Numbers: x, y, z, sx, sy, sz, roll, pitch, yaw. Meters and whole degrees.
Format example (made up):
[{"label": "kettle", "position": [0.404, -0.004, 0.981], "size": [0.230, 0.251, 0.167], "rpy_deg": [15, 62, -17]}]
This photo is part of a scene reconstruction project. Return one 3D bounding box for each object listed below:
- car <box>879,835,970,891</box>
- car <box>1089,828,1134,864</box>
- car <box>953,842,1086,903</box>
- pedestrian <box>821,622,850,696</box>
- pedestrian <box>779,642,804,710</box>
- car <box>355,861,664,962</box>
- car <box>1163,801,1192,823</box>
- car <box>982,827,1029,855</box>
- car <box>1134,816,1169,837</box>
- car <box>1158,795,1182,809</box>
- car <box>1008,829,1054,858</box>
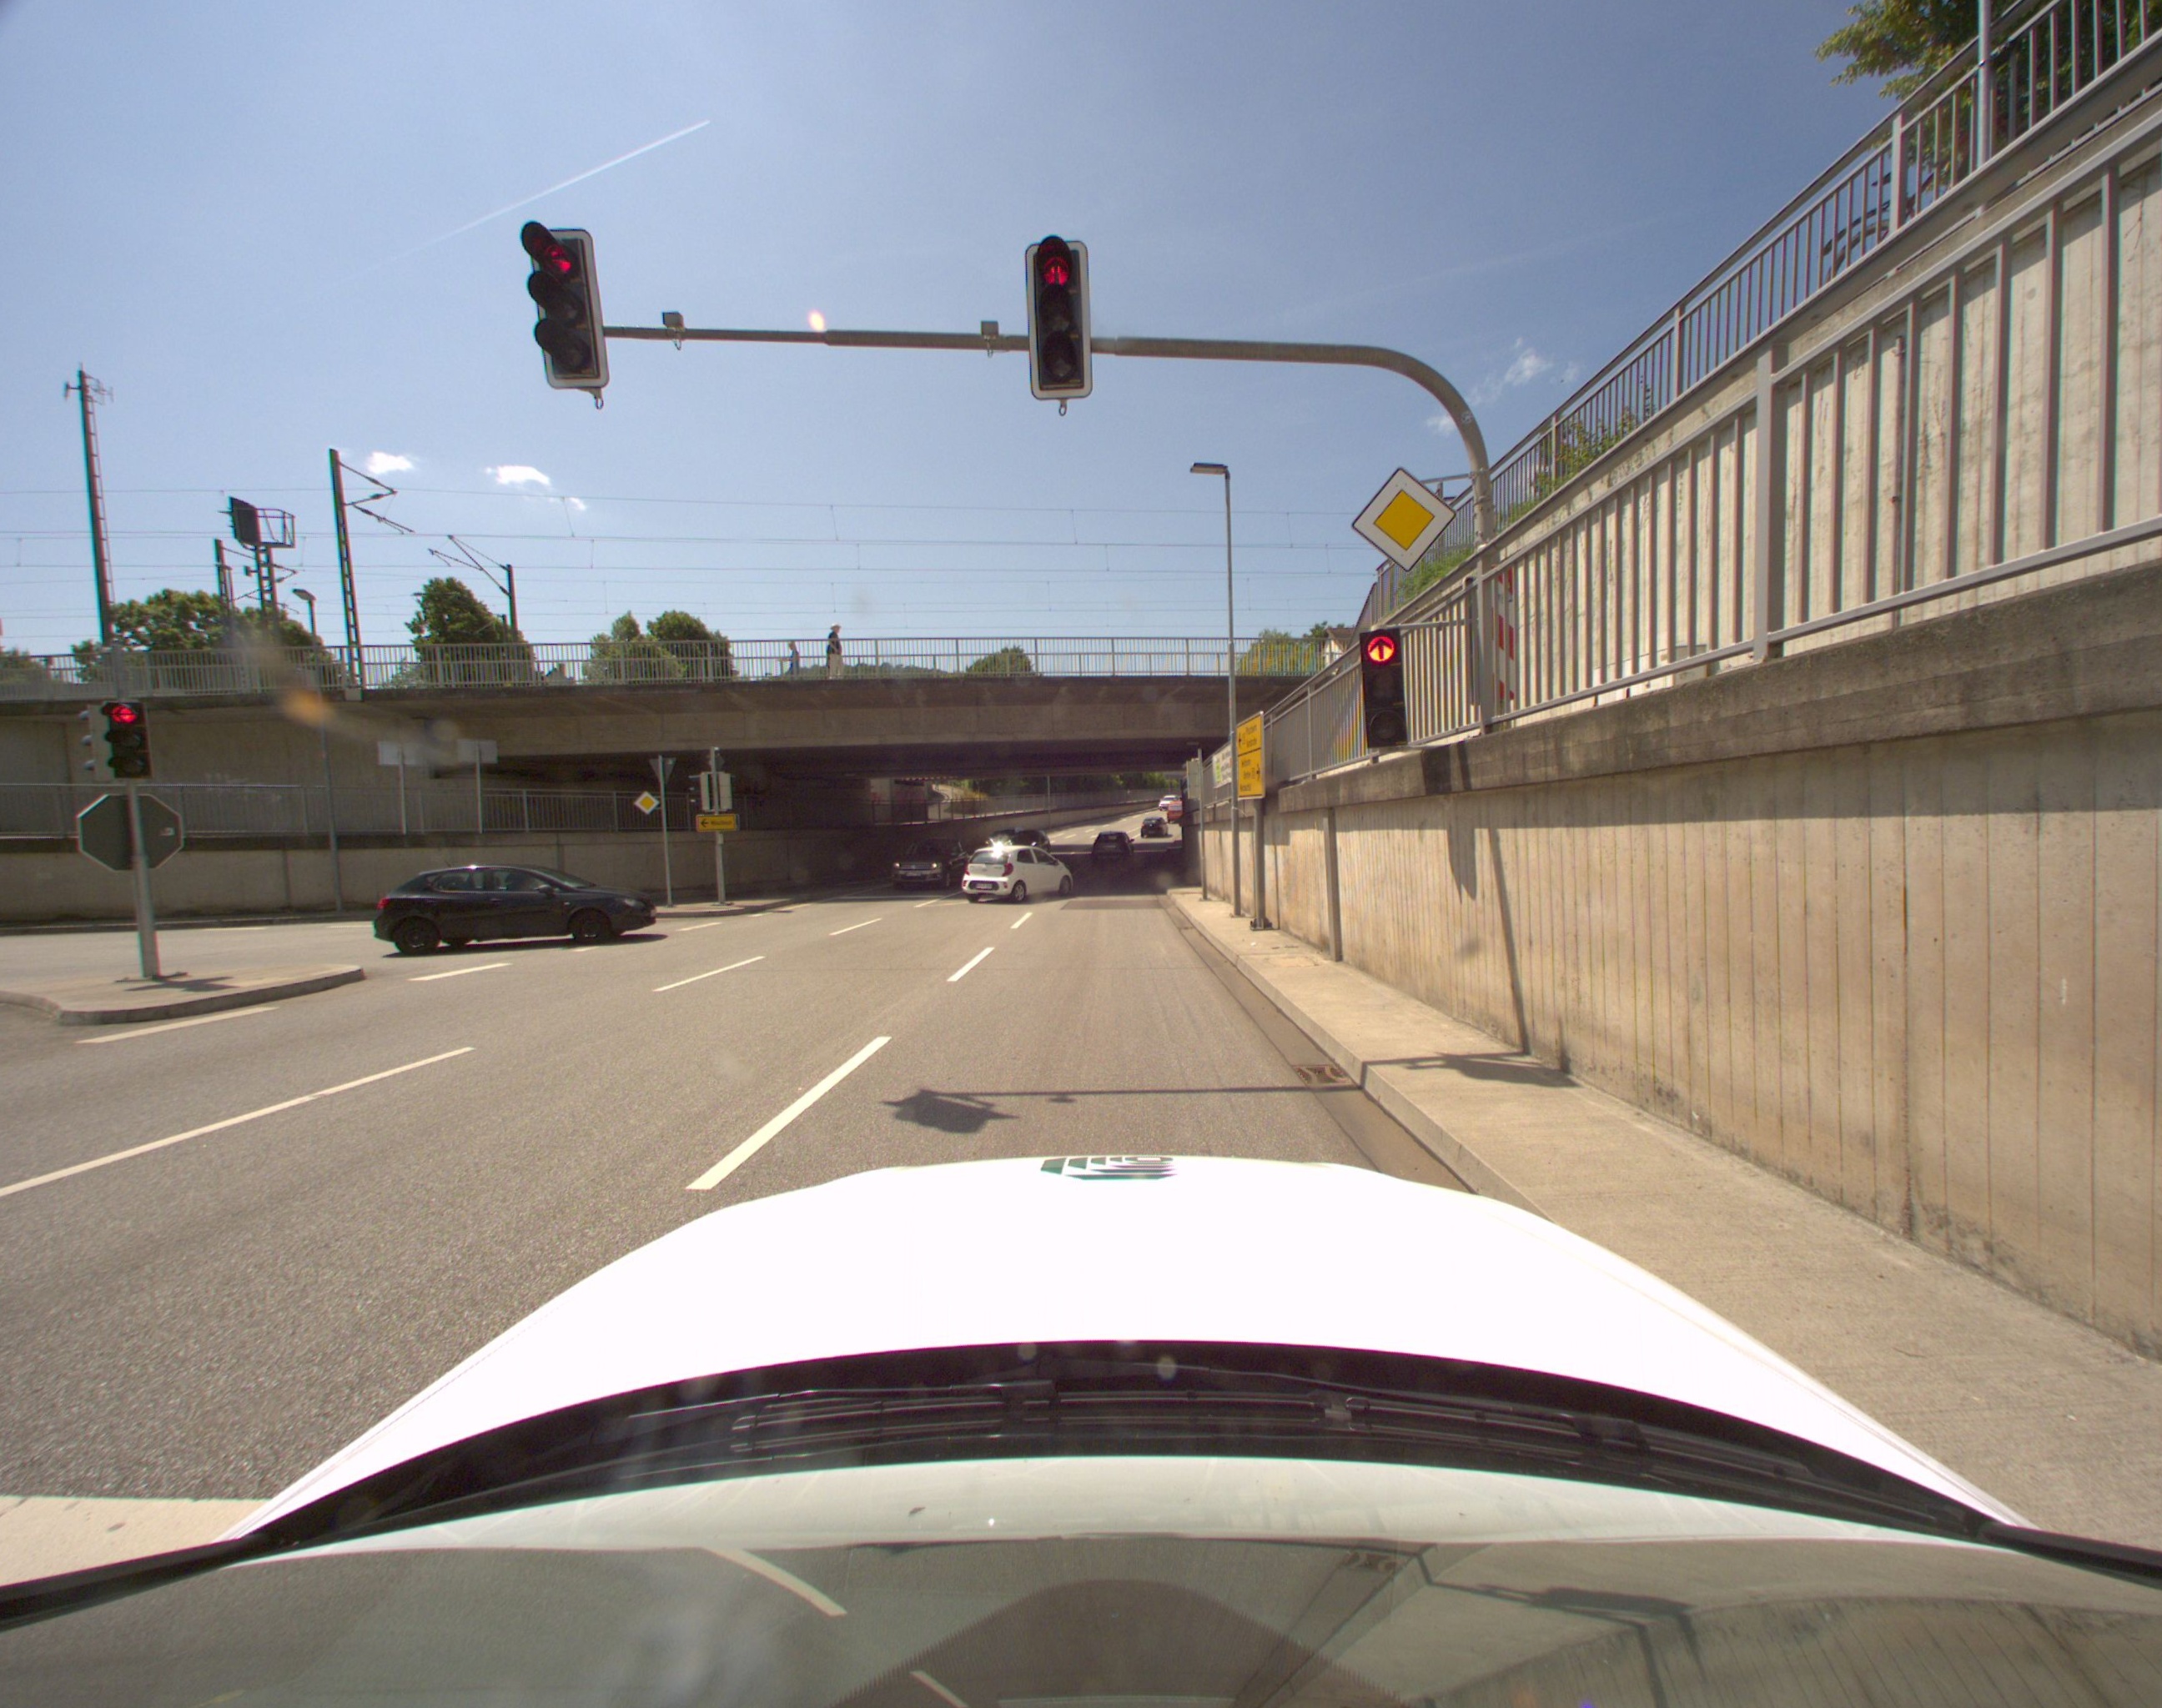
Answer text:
[{"label": "car", "position": [-5.162, 0.237, 27.458], "size": [1.984, 1.627, 4.006], "rpy_deg": [-1, 2, 4]}, {"label": "car", "position": [1.535, -0.418, 39.469], "size": [1.984, 1.588, 4.006], "rpy_deg": [-1, 2, 4]}, {"label": "car", "position": [-1.624, 0.434, 22.906], "size": [1.709, 1.419, 4.026], "rpy_deg": [0, 3, 30]}, {"label": "pedestrian", "position": [-7.413, -5.873, 24.583], "size": [0.572, 2.081, 0.537], "rpy_deg": [-2, 0, 14]}, {"label": "pedestrian", "position": [-9.263, -5.685, 26.054], "size": [0.538, 2.081, 0.534], "rpy_deg": [-2, 0, -5]}, {"label": "car", "position": [-9.676, 0.913, 14.193], "size": [3.998, 1.374, 1.757], "rpy_deg": [-2, 2, -18]}, {"label": "car", "position": [8.982, -3.843, 75.362], "size": [1.858, 1.932, 4.740], "rpy_deg": [-1, 2, 16]}, {"label": "car", "position": [-4.617, -0.851, 50.301], "size": [1.983, 1.588, 4.009], "rpy_deg": [-1, 2, 7]}, {"label": "car", "position": [5.326, -2.071, 60.933], "size": [1.979, 1.507, 4.016], "rpy_deg": [-1, 2, 13]}, {"label": "car", "position": [10.499, -6.109, 95.593], "size": [1.977, 1.588, 4.021], "rpy_deg": [1, 5, 19]}, {"label": "car", "position": [-2.720, -0.603, 45.333], "size": [1.772, 1.436, 4.009], "rpy_deg": [-1, 2, 7]}]
